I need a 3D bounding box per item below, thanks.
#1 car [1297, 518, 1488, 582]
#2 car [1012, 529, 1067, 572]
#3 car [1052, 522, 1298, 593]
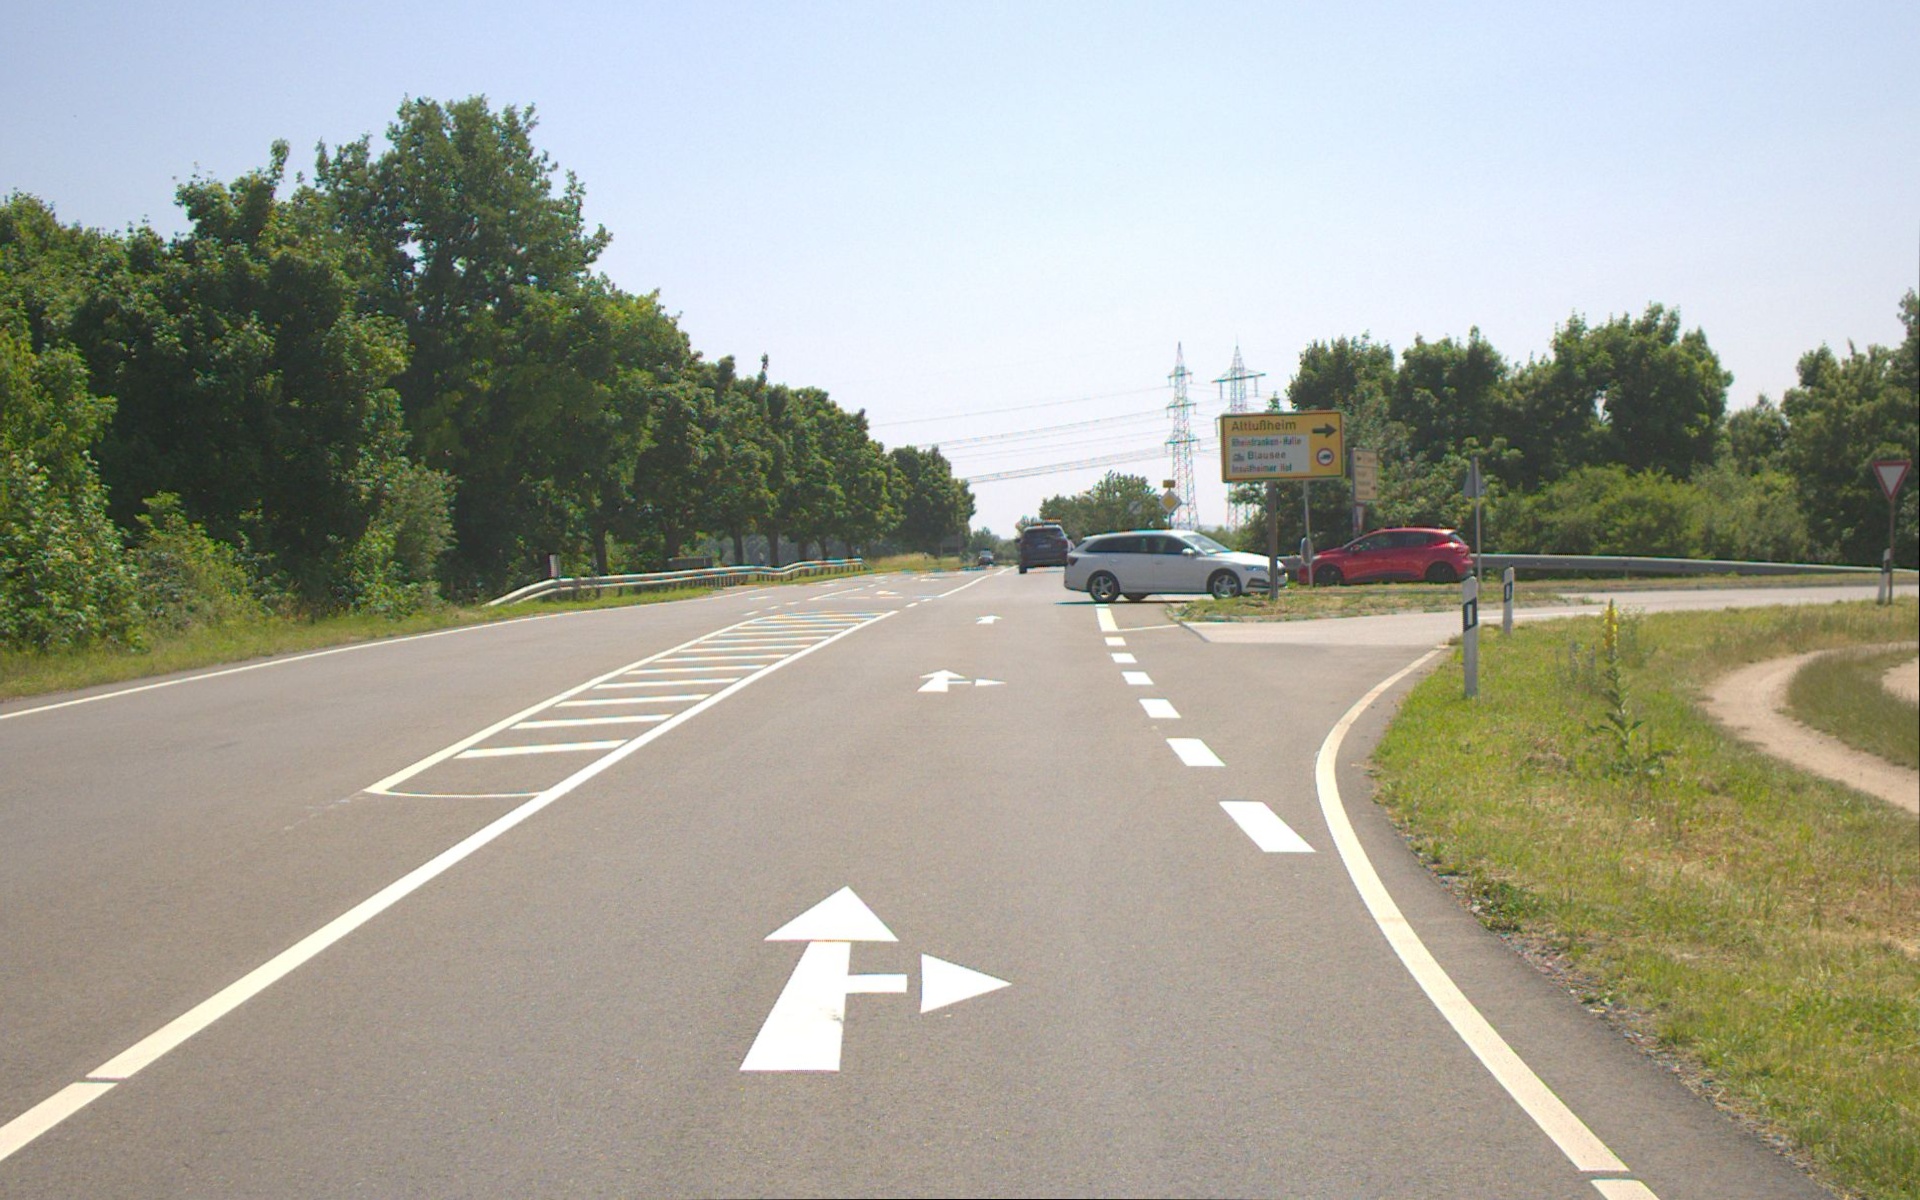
[{"bbox_3d":[10.018,-1.144,79.603,4.155,1.414,1.778,-1,0,16],"label":"car"},{"bbox_3d":[2.819,-1.761,123.160,1.884,1.513,4.040,0,1,0],"label":"car"},{"bbox_3d":[4.400,-0.891,70.551,4.707,1.413,1.839,1,1,28],"label":"car"}]
